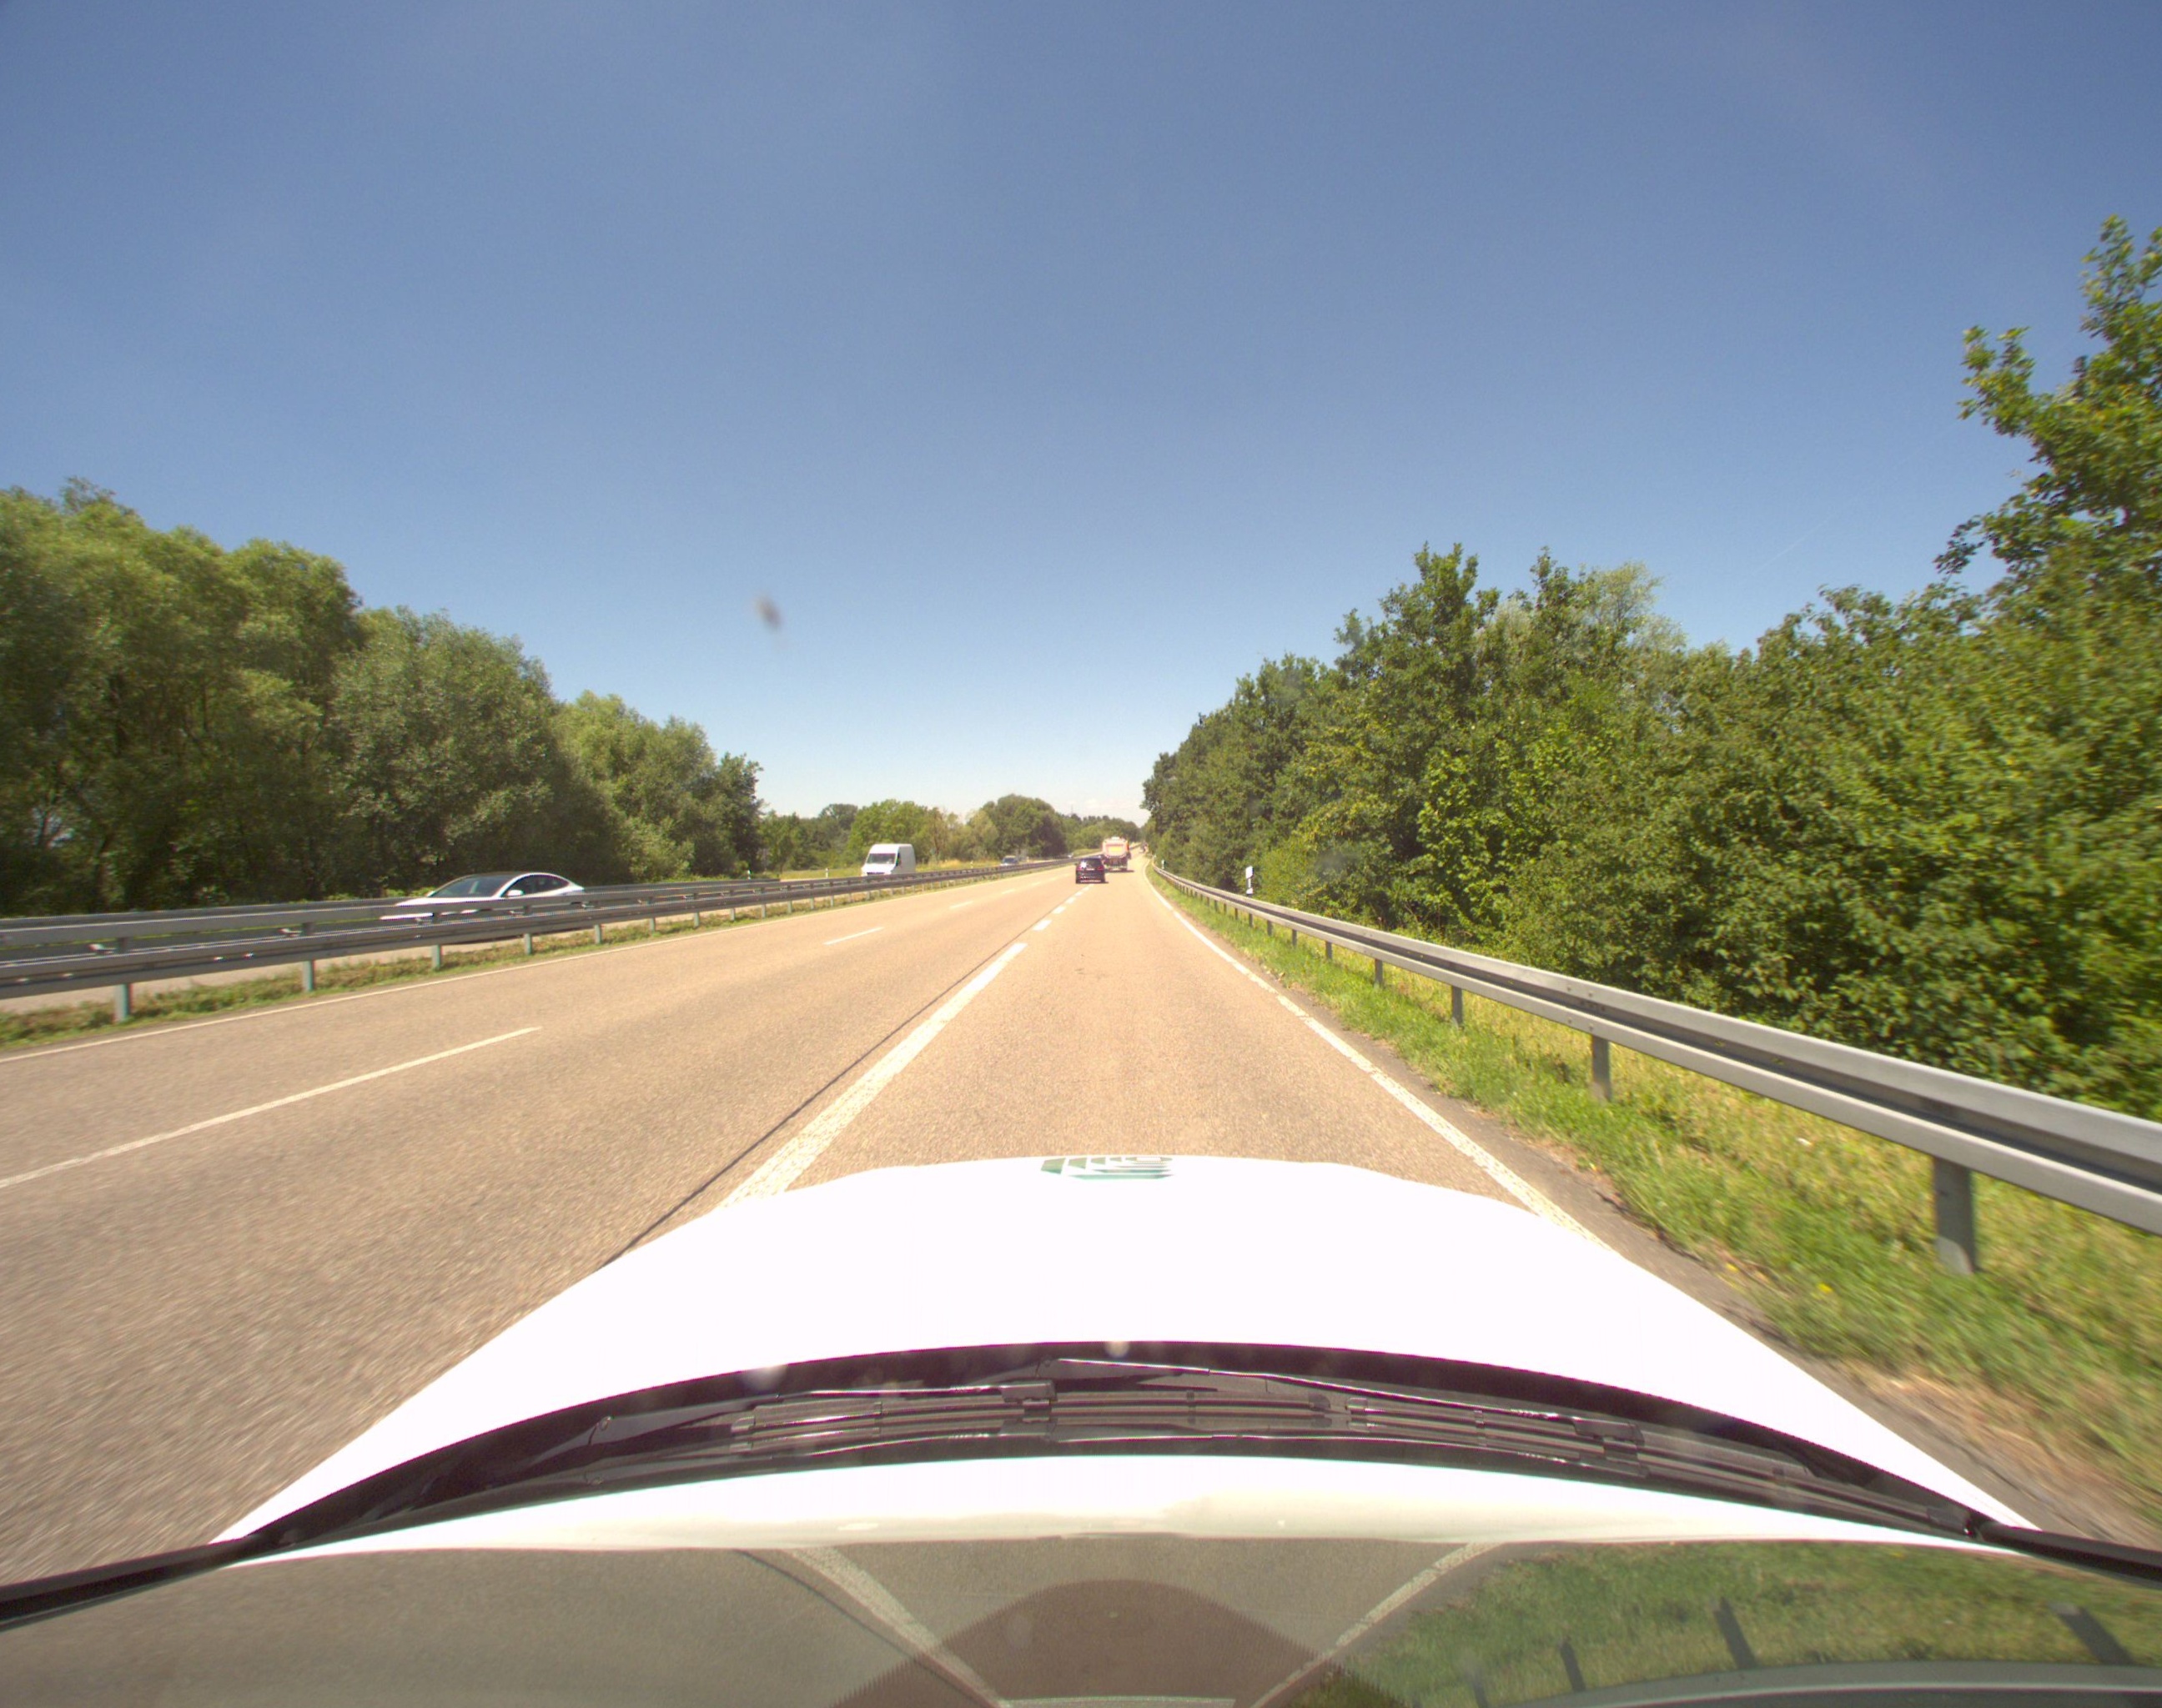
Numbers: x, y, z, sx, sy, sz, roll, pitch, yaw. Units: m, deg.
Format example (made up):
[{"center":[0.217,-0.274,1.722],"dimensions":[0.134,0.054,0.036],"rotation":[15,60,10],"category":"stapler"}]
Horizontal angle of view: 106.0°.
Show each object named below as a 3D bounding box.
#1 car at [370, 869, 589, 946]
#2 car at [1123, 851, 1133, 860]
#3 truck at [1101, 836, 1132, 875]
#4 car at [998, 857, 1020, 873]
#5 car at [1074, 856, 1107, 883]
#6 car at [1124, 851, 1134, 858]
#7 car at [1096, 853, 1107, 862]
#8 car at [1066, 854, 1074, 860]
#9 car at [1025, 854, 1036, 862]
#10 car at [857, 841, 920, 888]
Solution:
[{"center":[-13.192,1.100,18.219],"dimensions":[1.912,1.489,3.999],"rotation":[-1,-1,0],"category":"car"},{"center":[9.631,0.355,165.031],"dimensions":[1.848,1.671,4.006],"rotation":[-1,0,5],"category":"car"},{"center":[4.000,0.028,88.613],"dimensions":[2.707,3.929,12.390],"rotation":[-1,1,5],"category":"truck"},{"center":[-8.445,1.237,95.682],"dimensions":[1.855,1.830,4.664],"rotation":[-1,0,3],"category":"car"},{"center":[0.658,0.962,53.309],"dimensions":[1.849,1.671,4.005],"rotation":[-1,0,4],"category":"car"},{"center":[10.653,0.145,180.586],"dimensions":[1.848,1.671,4.006],"rotation":[-1,0,5],"category":"car"},{"center":[3.984,0.622,159.102],"dimensions":[1.848,1.671,4.006],"rotation":[-1,0,5],"category":"car"},{"center":[-2.904,0.812,220.055],"dimensions":[1.716,1.645,4.950],"rotation":[-1,0,5],"category":"car"},{"center":[-9.699,0.705,156.946],"dimensions":[1.912,1.489,3.999],"rotation":[-1,-1,0],"category":"car"},{"center":[-11.764,0.650,50.296],"dimensions":[2.094,2.683,6.630],"rotation":[-1,-1,2],"category":"car"}]
